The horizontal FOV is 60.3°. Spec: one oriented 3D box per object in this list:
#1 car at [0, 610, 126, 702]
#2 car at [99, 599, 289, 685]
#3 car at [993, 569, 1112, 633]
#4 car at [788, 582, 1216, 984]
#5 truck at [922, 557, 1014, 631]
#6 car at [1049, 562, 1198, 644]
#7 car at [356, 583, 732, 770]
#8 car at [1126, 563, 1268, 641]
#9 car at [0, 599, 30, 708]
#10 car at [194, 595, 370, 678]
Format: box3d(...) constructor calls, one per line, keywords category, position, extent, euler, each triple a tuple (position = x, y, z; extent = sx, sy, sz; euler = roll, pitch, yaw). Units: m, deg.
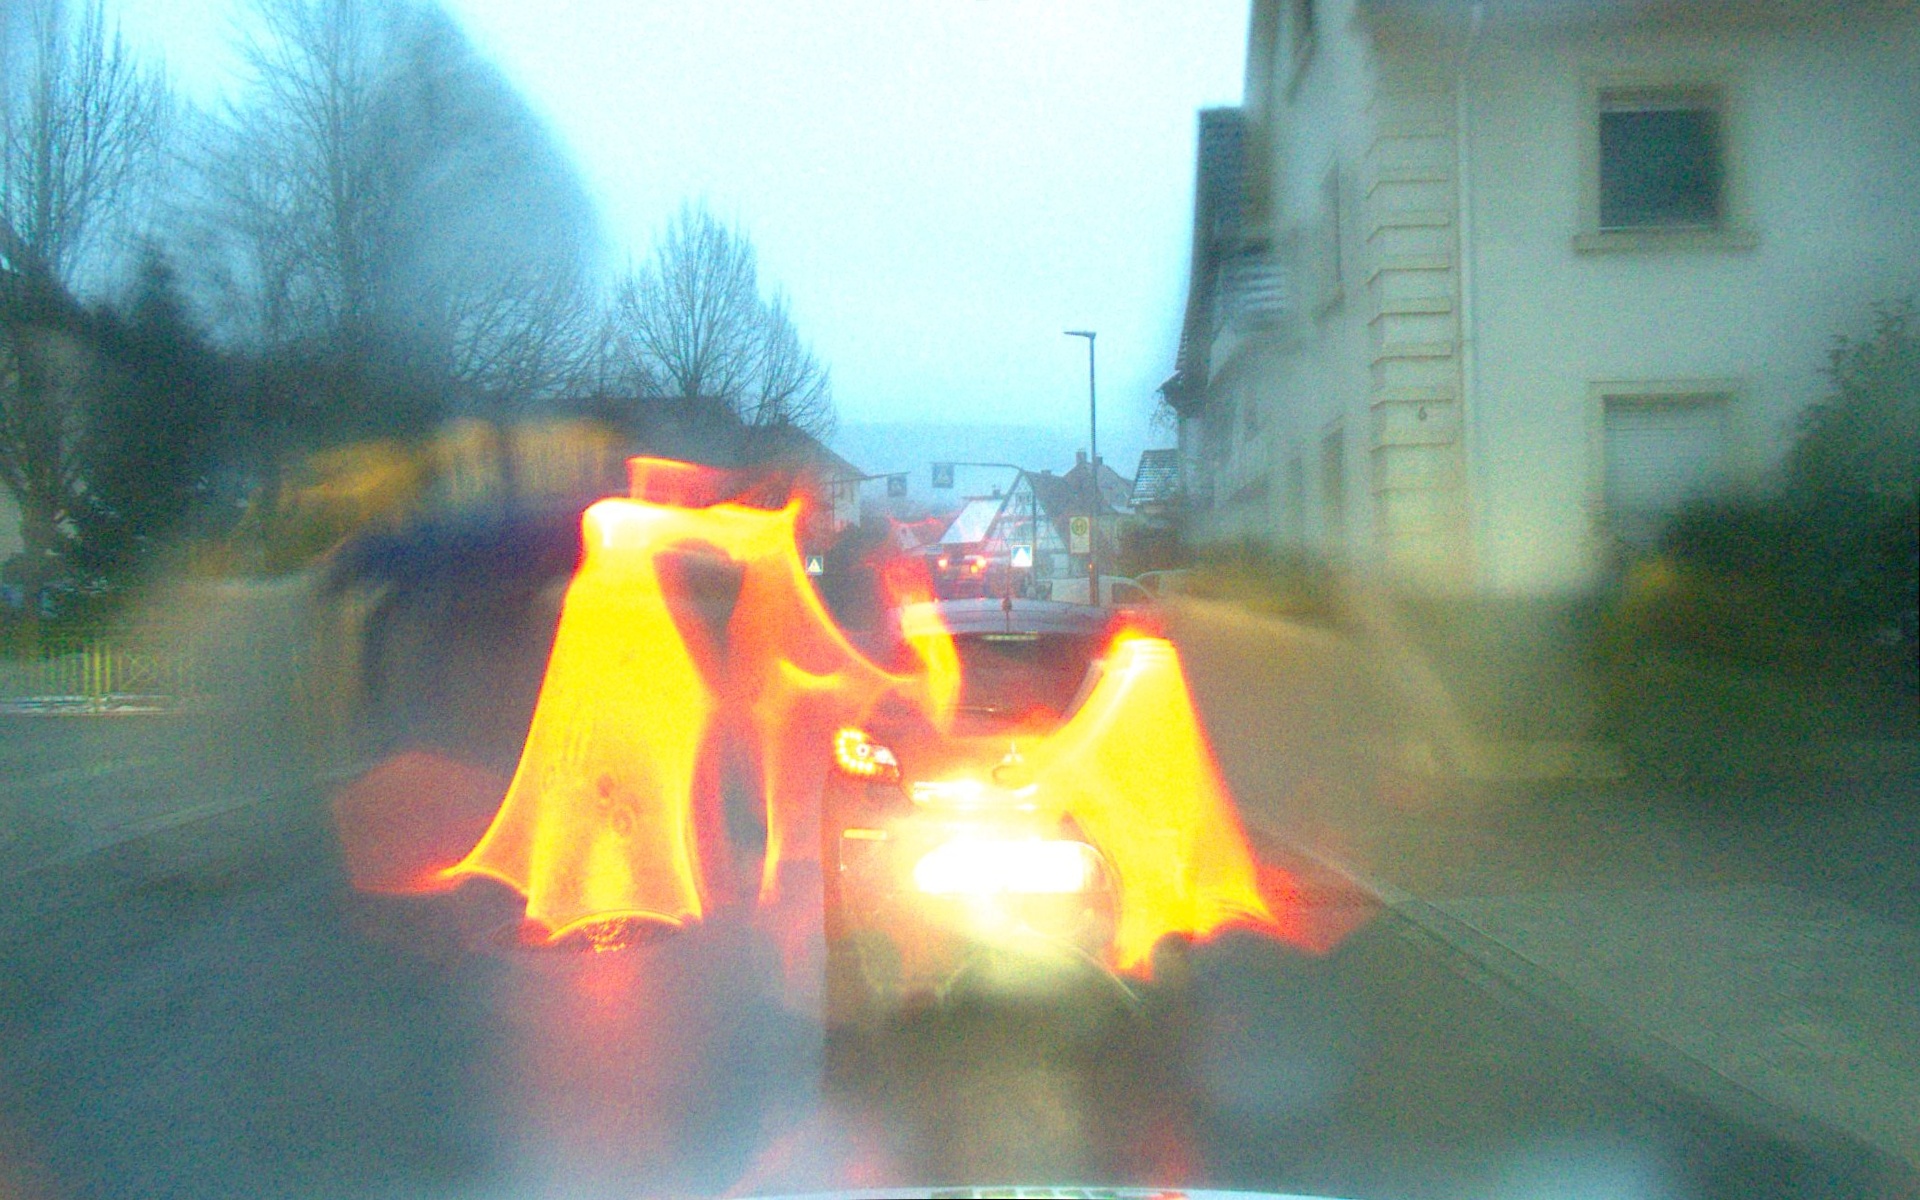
box3d(category="car", position=(-19.315, 1.109, 33.836), extent=(3.903, 1.760, 1.820), euler=(0, 0, 19))
box3d(category="car", position=(-18.092, 0.970, 39.116), extent=(3.903, 1.944, 1.820), euler=(0, 0, 19))
box3d(category="car", position=(3.260, 0.023, 57.806), extent=(4.010, 2.189, 1.915), euler=(0, 0, 6))
box3d(category="car", position=(0.140, 0.694, 7.920), extent=(1.604, 1.507, 3.378), euler=(0, 0, -1))
box3d(category="truck", position=(0.477, -0.285, 74.978), extent=(2.951, 3.183, 8.007), euler=(0, 0, 9))
box3d(category="car", position=(4.523, 0.079, 45.742), extent=(4.010, 2.200, 1.915), euler=(0, 0, 6))
box3d(category="car", position=(-3.816, 0.611, 15.071), extent=(3.204, 1.507, 1.638), euler=(1, 0, 35))
box3d(category="car", position=(6.857, 0.058, 48.077), extent=(4.010, 2.189, 1.915), euler=(0, 0, 6))
box3d(category="car", position=(-19.729, 1.002, 31.034), extent=(3.903, 2.023, 1.820), euler=(0, 0, 19))
box3d(category="car", position=(-17.207, 0.902, 42.002), extent=(3.903, 2.033, 1.820), euler=(0, 0, 19))
